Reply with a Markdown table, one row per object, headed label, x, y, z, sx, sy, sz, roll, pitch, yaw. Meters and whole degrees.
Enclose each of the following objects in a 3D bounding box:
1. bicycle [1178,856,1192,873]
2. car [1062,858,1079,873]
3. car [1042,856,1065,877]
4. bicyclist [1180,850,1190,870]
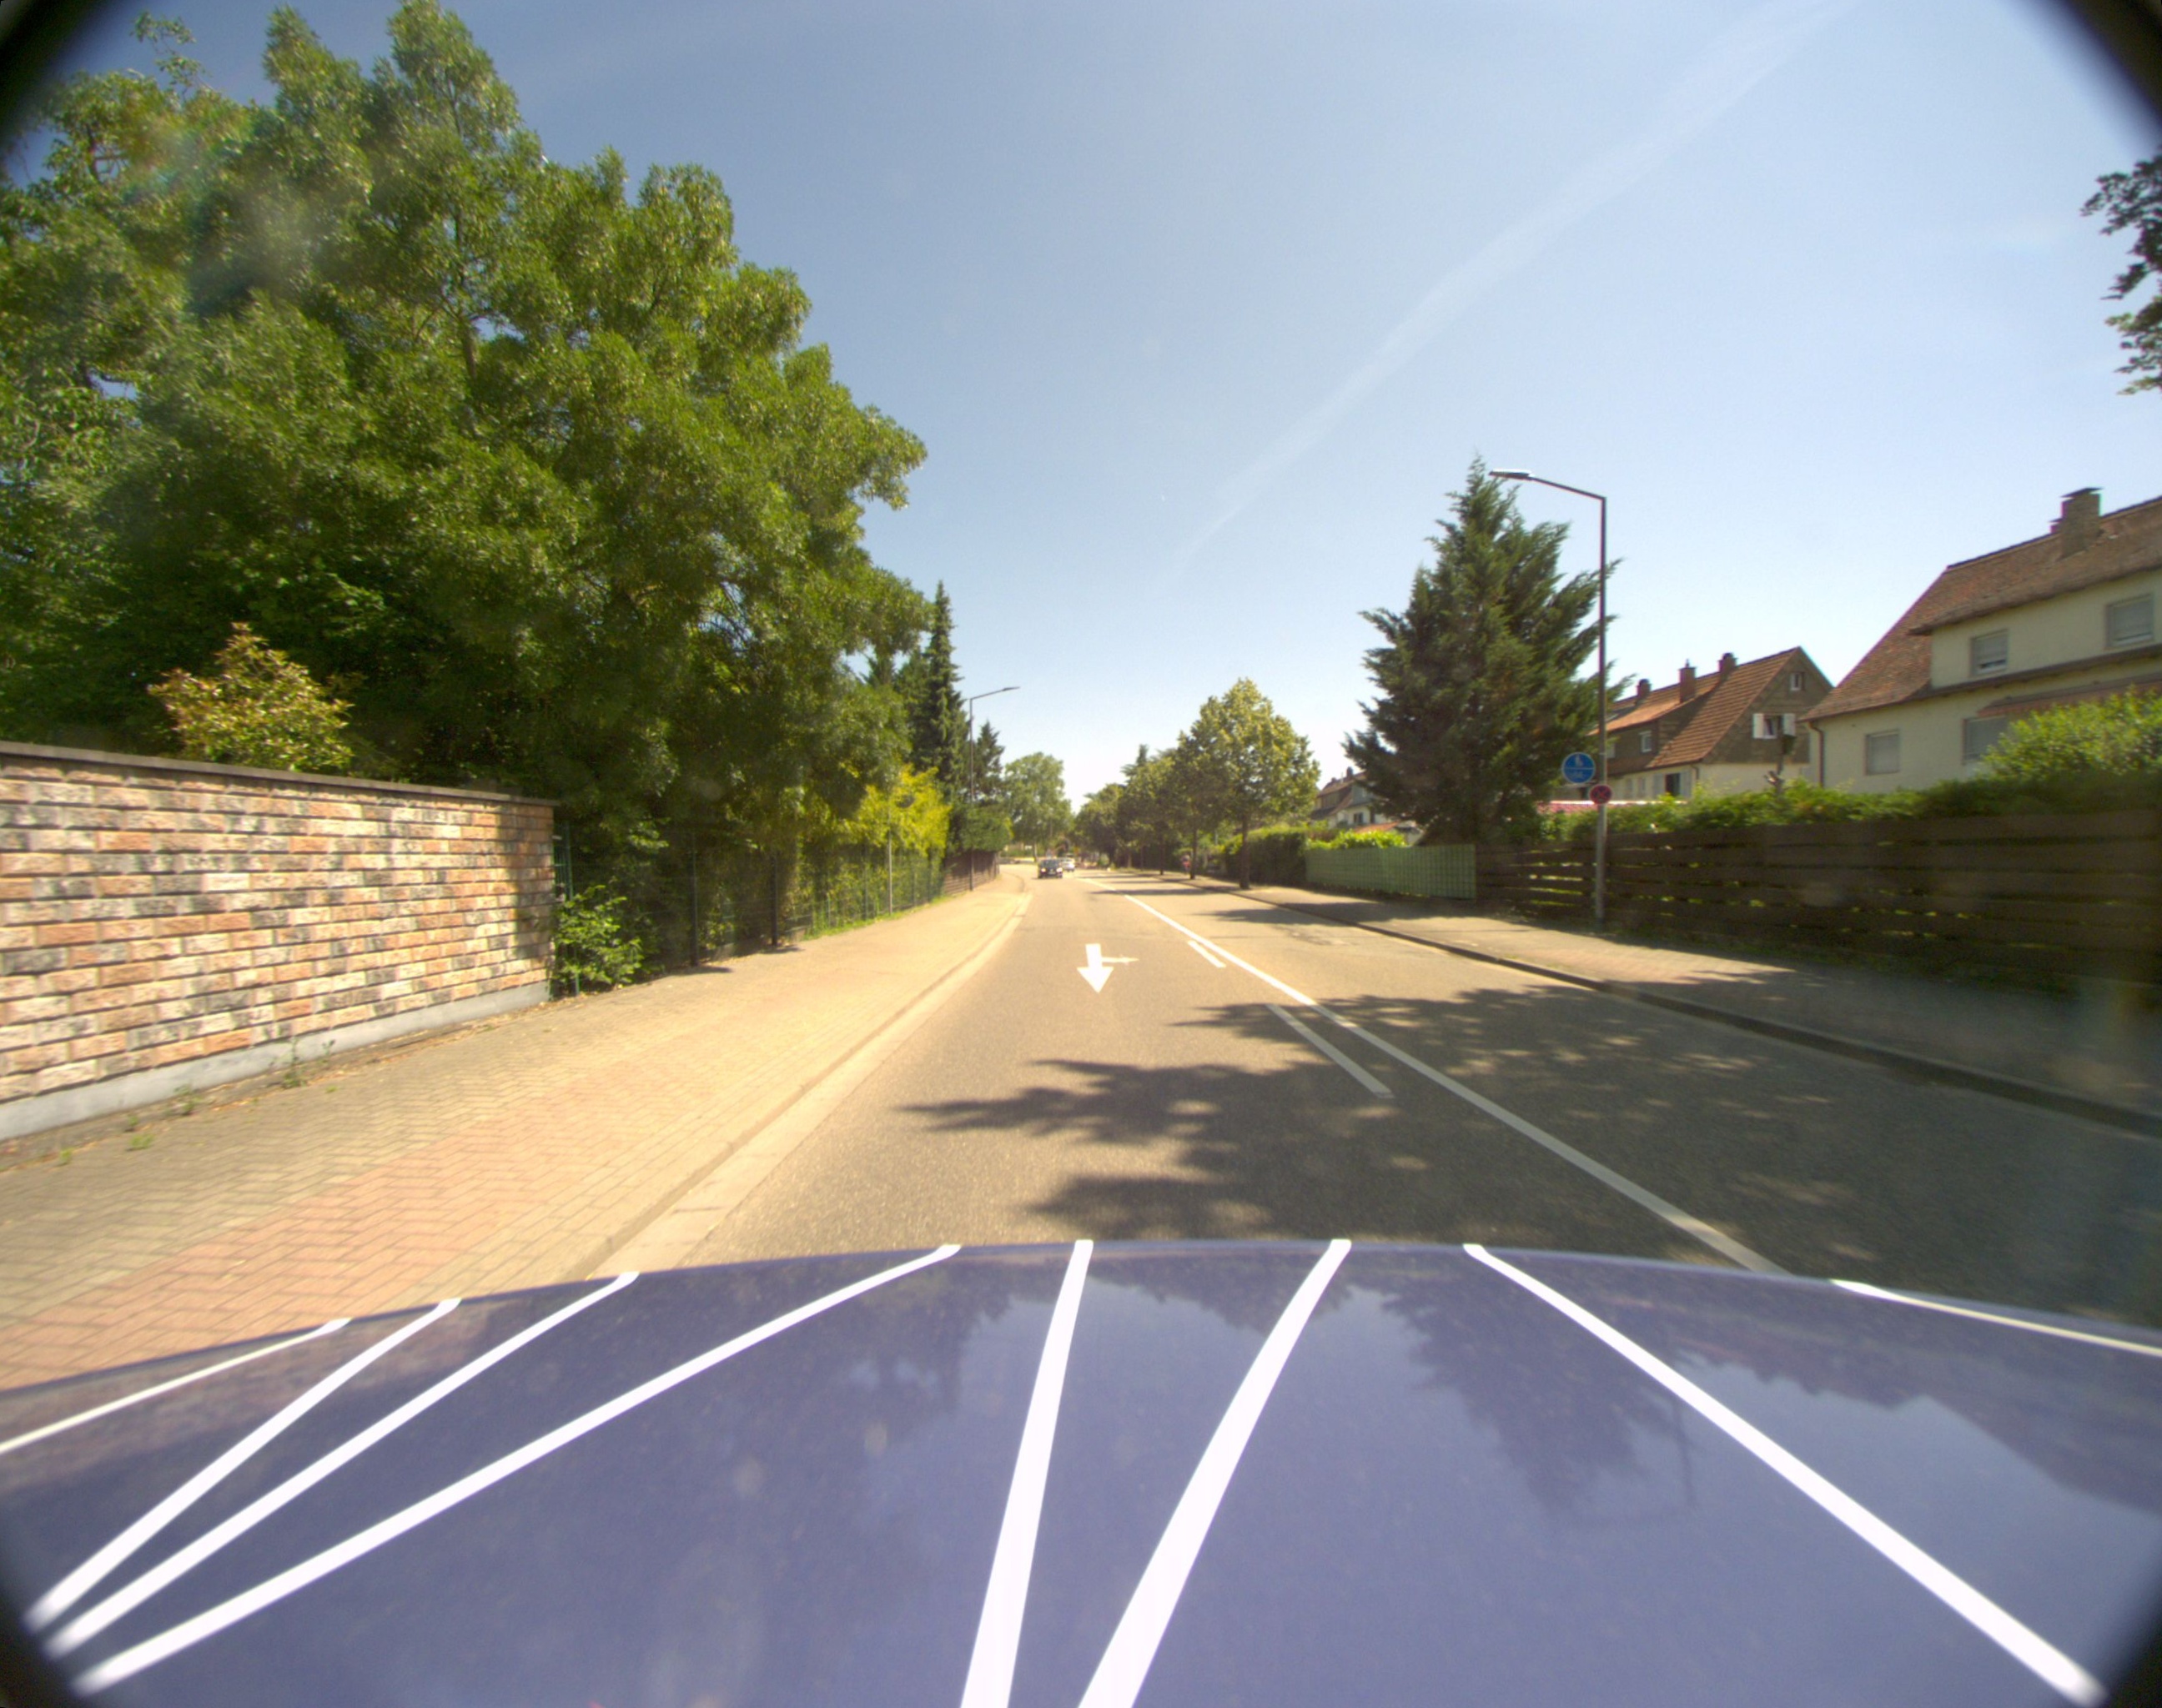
| label | x | y | z | sx | sy | sz | roll | pitch | yaw |
| --- | --- | --- | --- | --- | --- | --- | --- | --- | --- |
| bicycle | 7.402 | 0.766 | 54.123 | 0.634 | 1.173 | 1.815 | 0 | 0 | -3 |
| car | -1.123 | 1.200 | 79.411 | 1.616 | 1.474 | 3.706 | -1 | 0 | -4 |
| car | -2.094 | 0.927 | 57.140 | 1.608 | 1.436 | 3.907 | -1 | 0 | -4 |
| bicyclist | 7.400 | 0.435 | 54.143 | 0.630 | 1.400 | 0.676 | 0 | 0 | -3 |
